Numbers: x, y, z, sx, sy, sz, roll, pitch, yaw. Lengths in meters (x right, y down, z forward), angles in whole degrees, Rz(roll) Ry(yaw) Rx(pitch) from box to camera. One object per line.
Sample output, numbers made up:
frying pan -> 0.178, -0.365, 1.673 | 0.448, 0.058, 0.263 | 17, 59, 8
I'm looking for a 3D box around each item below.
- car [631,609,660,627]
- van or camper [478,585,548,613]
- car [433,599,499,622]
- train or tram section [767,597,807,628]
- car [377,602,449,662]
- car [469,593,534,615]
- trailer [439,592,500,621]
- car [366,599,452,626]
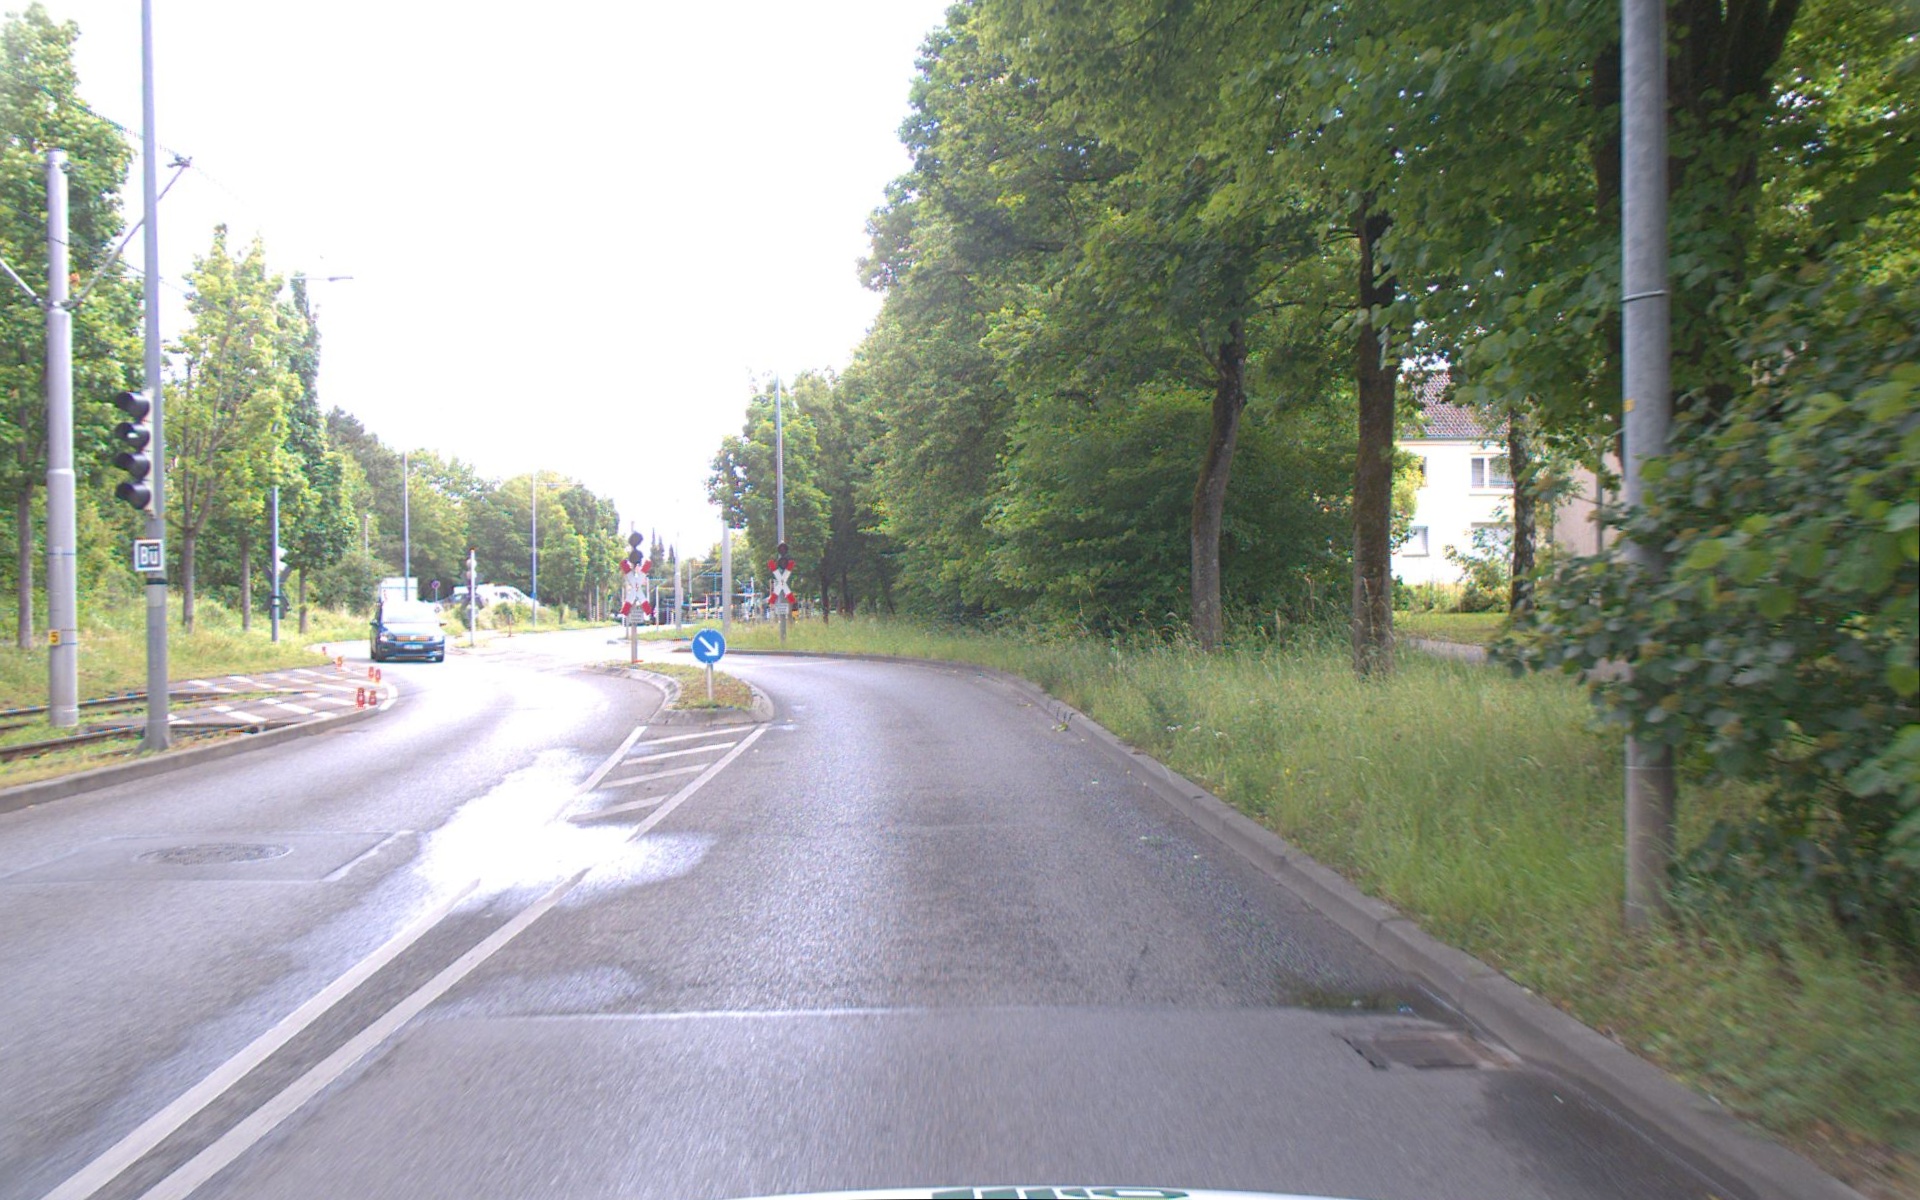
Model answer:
car -> -28.974, 1.642, 152.380 | 1.953, 1.463, 4.424 | -2, 0, -2
van or camper -> -36.365, -0.040, 134.714 | 5.231, 2.241, 1.997 | 0, 0, -7
car -> -35.023, 0.752, 117.297 | 4.233, 1.474, 1.832 | -2, 0, -10
train or tram section -> -20.708, 1.535, 196.103 | 2.952, 3.369, 34.636 | 0, -1, -9
car -> -15.354, 0.864, 46.297 | 1.839, 1.547, 4.214 | 0, 0, -20
car -> -36.578, 0.311, 132.053 | 4.546, 1.685, 2.000 | -1, -1, 1
trailer -> -35.652, 0.443, 120.293 | 3.908, 2.049, 1.907 | -1, 0, -4
car -> -34.805, 0.786, 104.608 | 4.832, 1.613, 2.203 | -1, -1, -7
